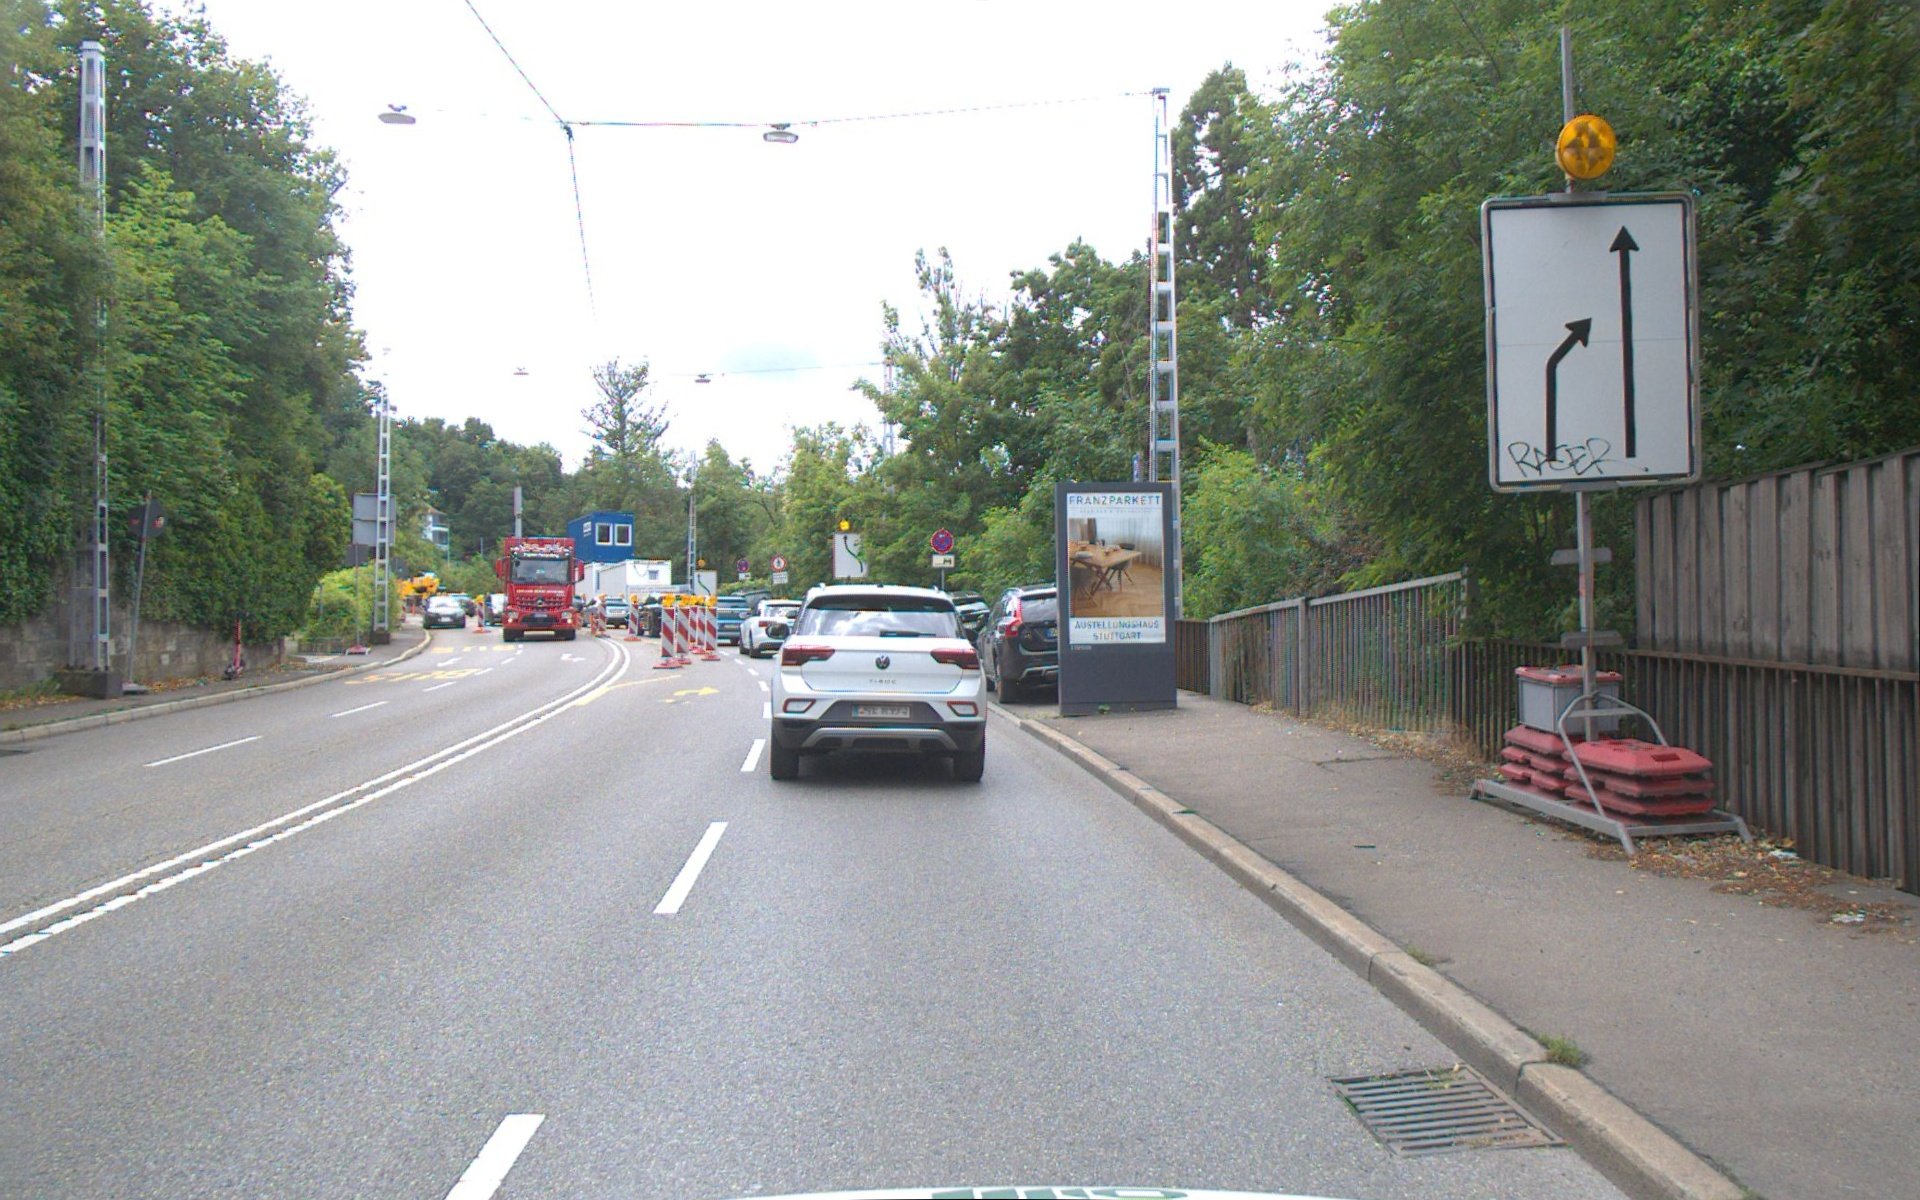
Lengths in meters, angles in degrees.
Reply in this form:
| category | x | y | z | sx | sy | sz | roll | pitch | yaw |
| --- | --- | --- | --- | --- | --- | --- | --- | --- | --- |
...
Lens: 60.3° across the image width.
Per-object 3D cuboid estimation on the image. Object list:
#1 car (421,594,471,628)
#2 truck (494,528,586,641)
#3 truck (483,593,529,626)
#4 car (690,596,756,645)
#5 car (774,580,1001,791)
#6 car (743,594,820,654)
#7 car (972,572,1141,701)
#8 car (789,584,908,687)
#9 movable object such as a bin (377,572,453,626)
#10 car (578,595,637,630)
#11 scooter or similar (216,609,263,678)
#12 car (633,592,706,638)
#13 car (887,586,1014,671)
| category | x | y | z | sx | sy | sz | roll | pitch | yaw |
| --- | --- | --- | --- | --- | --- | --- | --- | --- | --- |
| car | -23.411 | 0.485 | 75.205 | 1.869 | 1.406 | 3.974 | -1 | 1 | -22 |
| truck | -15.642 | -0.554 | 61.194 | 2.898 | 3.762 | 9.876 | -3 | 1 | -16 |
| truck | -21.417 | 0.429 | 77.931 | 1.639 | 1.468 | 4.000 | -2 | 0 | -21 |
| car | -7.633 | 0.655 | 53.273 | 1.956 | 1.439 | 4.142 | -2 | 0 | -8 |
| car | -0.705 | 0.631 | 14.395 | 1.723 | 1.583 | 3.791 | 0 | 0 | -5 |
| car | -4.669 | 0.585 | 42.848 | 1.726 | 1.497 | 3.786 | 0 | 0 | -10 |
| car | 1.286 | 0.458 | 23.877 | 1.731 | 1.548 | 4.389 | -5 | 1 | -5 |
| car | -1.982 | 0.555 | 28.424 | 1.725 | 1.637 | 3.788 | 0 | 0 | -9 |
| movable object such as a bin | -39.392 | -0.081 | 119.293 | 3.498 | 3.764 | 7.411 | -1 | 1 | -32 |
| car | -16.104 | 0.567 | 75.391 | 1.966 | 1.475 | 4.123 | -1 | 0 | -22 |
| scooter or similar | -13.261 | 0.789 | 30.477 | 0.528 | 1.226 | 1.275 | 2 | 0 | -13 |
| car | -10.880 | 0.535 | 61.743 | 1.965 | 1.583 | 4.125 | -1 | 1 | -21 |
| car | -0.274 | 0.541 | 34.767 | 1.776 | 1.488 | 4.182 | -6 | 2 | -11 |
